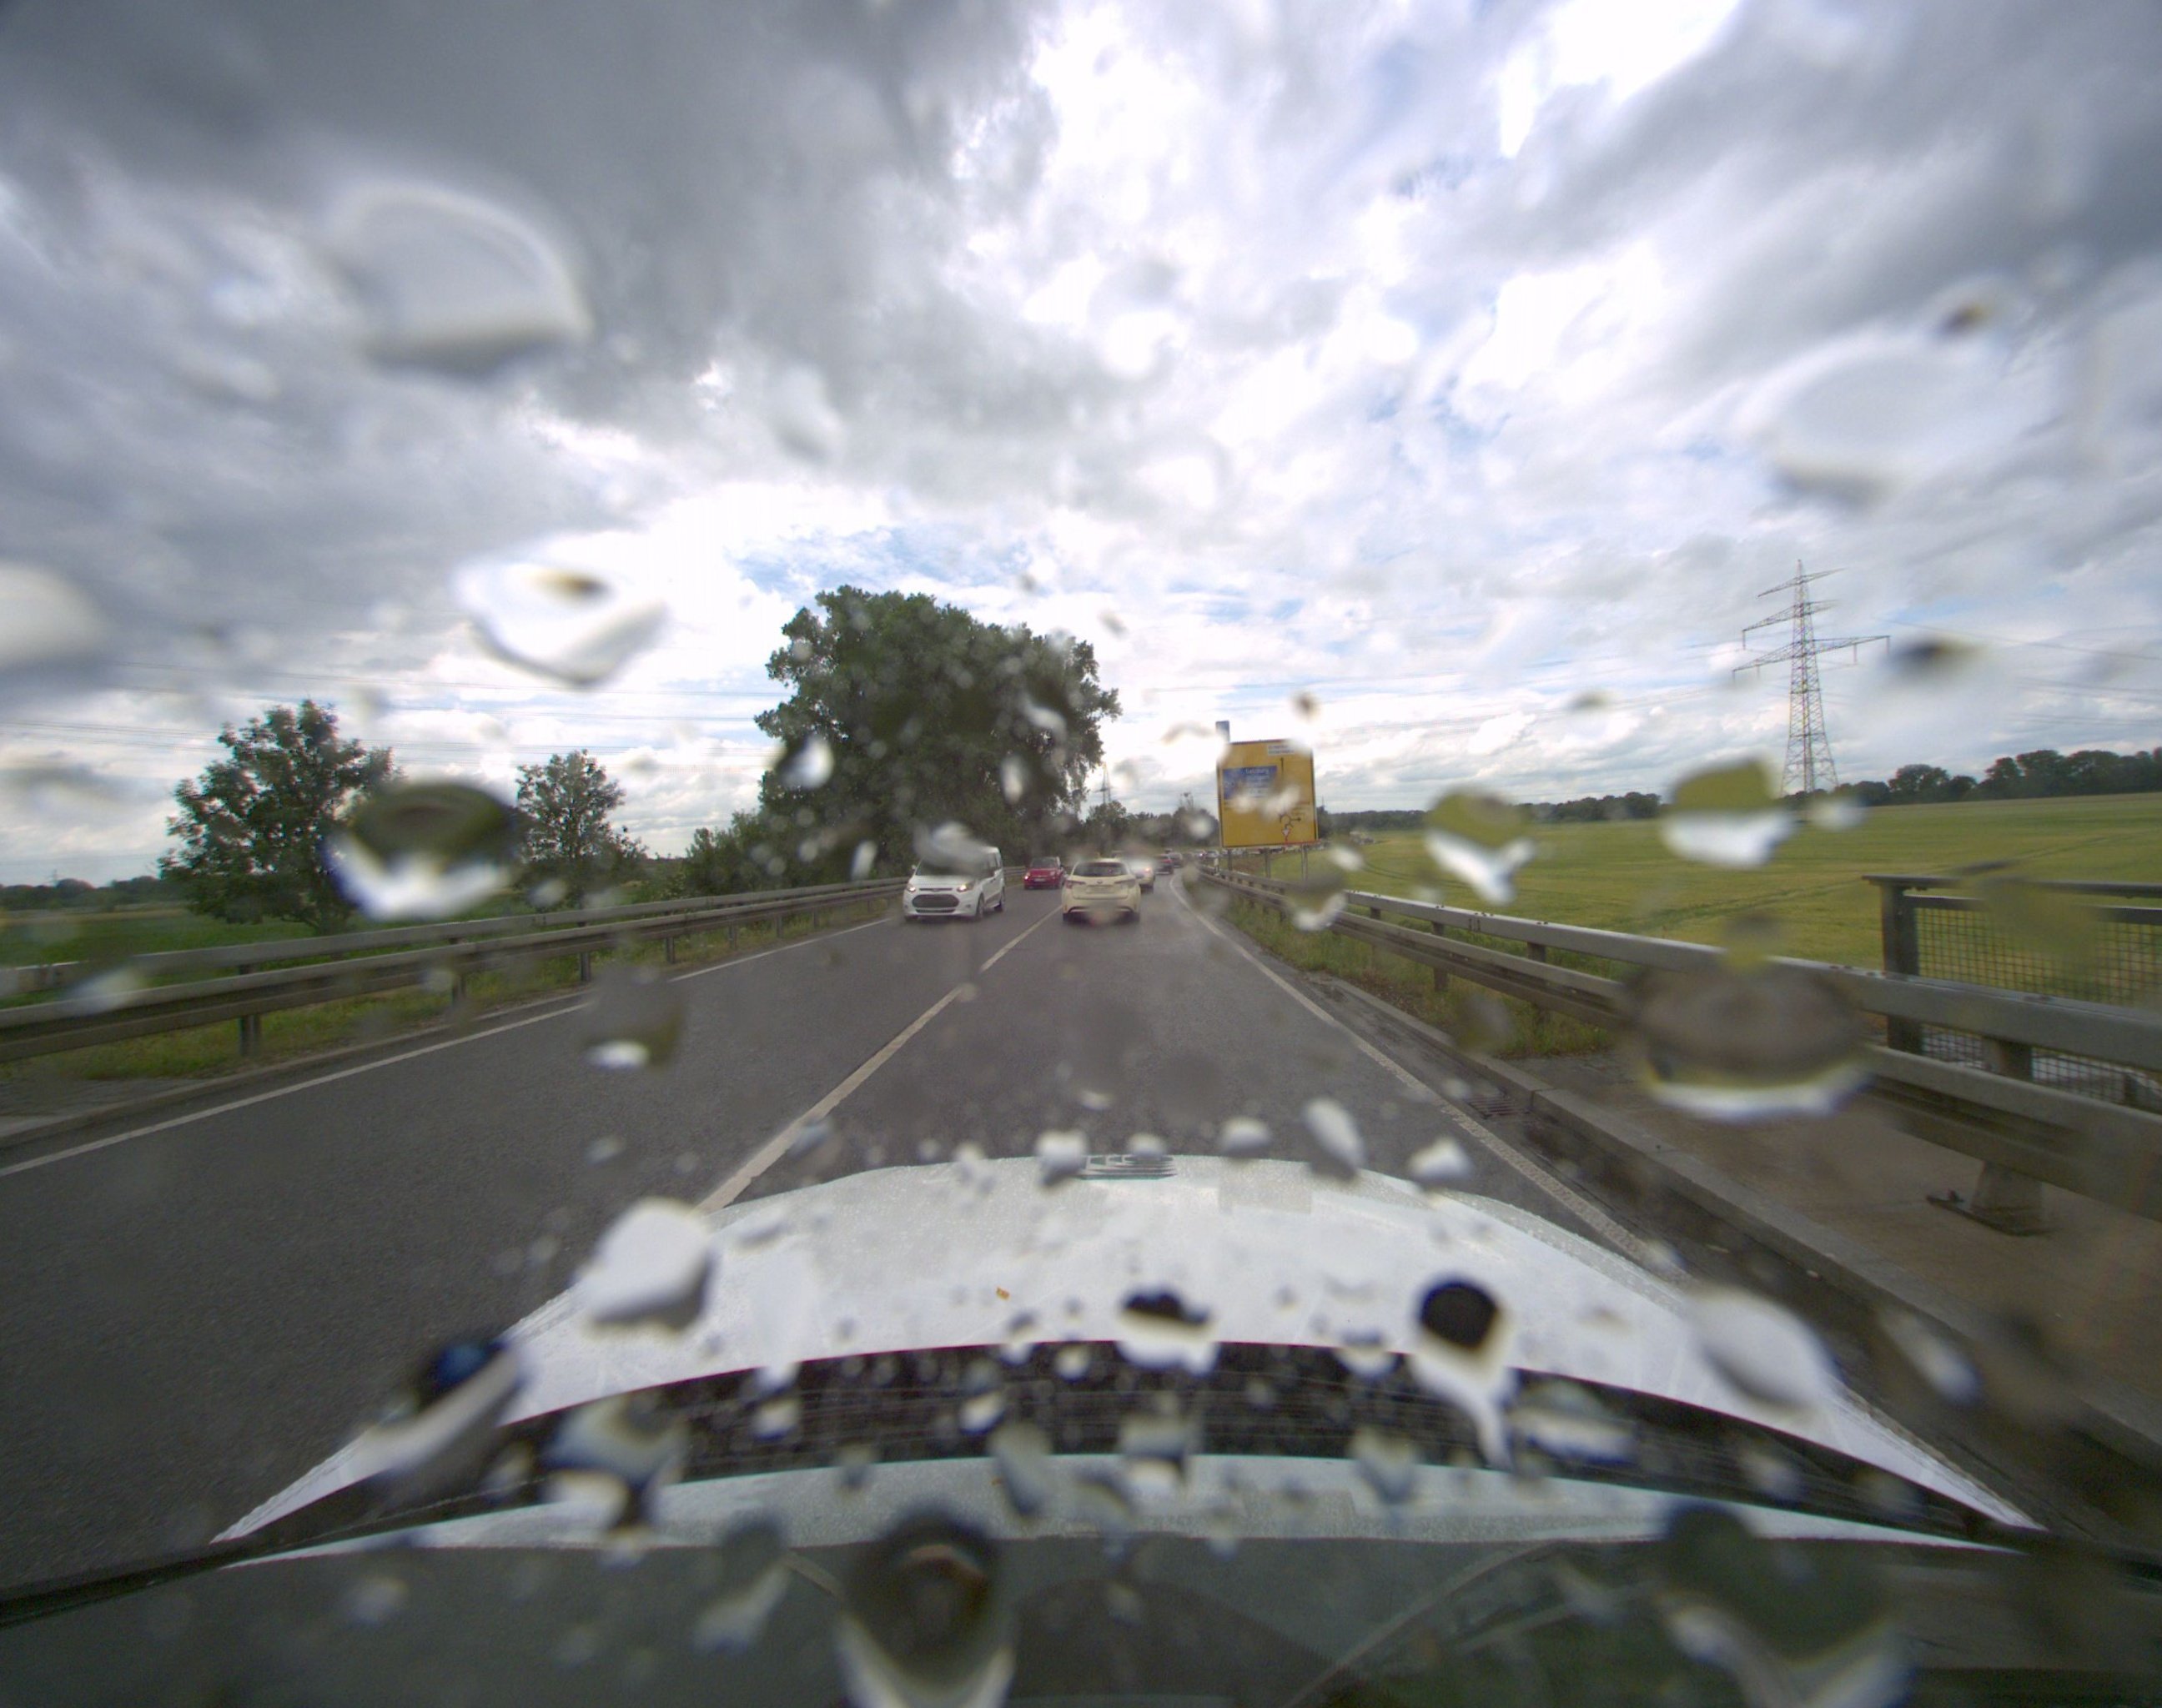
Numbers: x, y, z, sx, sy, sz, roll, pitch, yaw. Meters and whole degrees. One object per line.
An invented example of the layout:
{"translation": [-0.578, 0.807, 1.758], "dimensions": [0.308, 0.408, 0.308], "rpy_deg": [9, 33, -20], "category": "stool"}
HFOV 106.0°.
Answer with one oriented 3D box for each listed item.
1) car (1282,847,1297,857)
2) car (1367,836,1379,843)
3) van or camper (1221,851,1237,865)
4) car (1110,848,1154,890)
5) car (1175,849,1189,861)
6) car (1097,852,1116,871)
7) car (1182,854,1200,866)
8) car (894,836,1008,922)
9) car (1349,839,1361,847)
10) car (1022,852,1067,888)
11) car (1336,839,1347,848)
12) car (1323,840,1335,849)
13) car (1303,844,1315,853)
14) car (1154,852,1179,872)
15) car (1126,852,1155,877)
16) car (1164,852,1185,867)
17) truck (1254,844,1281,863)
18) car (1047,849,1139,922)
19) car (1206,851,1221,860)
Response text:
{"translation": [44.969, -0.419, 175.705], "dimensions": [2.146, 2.014, 4.024], "rpy_deg": [-1, -1, 27], "category": "car"}
{"translation": [84.915, -4.208, 236.559], "dimensions": [1.745, 2.013, 4.024], "rpy_deg": [-1, 1, 43], "category": "car"}
{"translation": [23.842, 0.642, 131.340], "dimensions": [1.977, 2.254, 4.018], "rpy_deg": [-1, -1, 18], "category": "van or camper"}
{"translation": [2.106, 0.570, 32.648], "dimensions": [1.570, 1.572, 3.687], "rpy_deg": [-1, 0, 6], "category": "car"}
{"translation": [15.584, 0.198, 125.231], "dimensions": [1.505, 1.721, 3.436], "rpy_deg": [-1, -1, 17], "category": "car"}
{"translation": [2.395, 0.710, 76.536], "dimensions": [1.512, 1.673, 3.812], "rpy_deg": [-1, -1, 6], "category": "car"}
{"translation": [13.319, 0.715, 98.401], "dimensions": [1.471, 1.309, 3.492], "rpy_deg": [-1, 0, 17], "category": "car"}
{"translation": [-3.114, 0.551, 20.444], "dimensions": [1.853, 1.892, 4.493], "rpy_deg": [-1, 0, 3], "category": "car"}
{"translation": [73.335, -2.844, 218.126], "dimensions": [1.974, 2.014, 4.025], "rpy_deg": [-1, -1, 35], "category": "car"}
{"translation": [-1.653, 0.717, 38.255], "dimensions": [1.602, 1.486, 4.005], "rpy_deg": [-2, 1, 5], "category": "car"}
{"translation": [66.346, -2.679, 207.640], "dimensions": [1.975, 2.014, 4.023], "rpy_deg": [-3, -2, 26], "category": "car"}
{"translation": [60.664, -2.358, 199.424], "dimensions": [2.205, 2.014, 4.023], "rpy_deg": [-1, -1, 26], "category": "car"}
{"translation": [52.067, -1.289, 185.894], "dimensions": [1.975, 2.014, 4.024], "rpy_deg": [-1, -1, 27], "category": "car"}
{"translation": [6.402, 0.605, 60.893], "dimensions": [1.655, 1.464, 3.485], "rpy_deg": [-1, 0, 8], "category": "car"}
{"translation": [3.487, 0.621, 48.066], "dimensions": [1.500, 1.437, 3.356], "rpy_deg": [-1, -1, 1], "category": "car"}
{"translation": [9.731, 0.577, 84.251], "dimensions": [1.648, 1.409, 3.919], "rpy_deg": [-1, -1, 14], "category": "car"}
{"translation": [36.412, 0.017, 158.865], "dimensions": [3.110, 3.562, 7.567], "rpy_deg": [-1, -1, 29], "category": "truck"}
{"translation": [0.400, 0.696, 19.560], "dimensions": [1.897, 1.537, 4.166], "rpy_deg": [-1, 0, 5], "category": "car"}
{"translation": [18.993, 0.199, 116.933], "dimensions": [1.470, 1.309, 3.494], "rpy_deg": [-1, 0, 20], "category": "car"}
